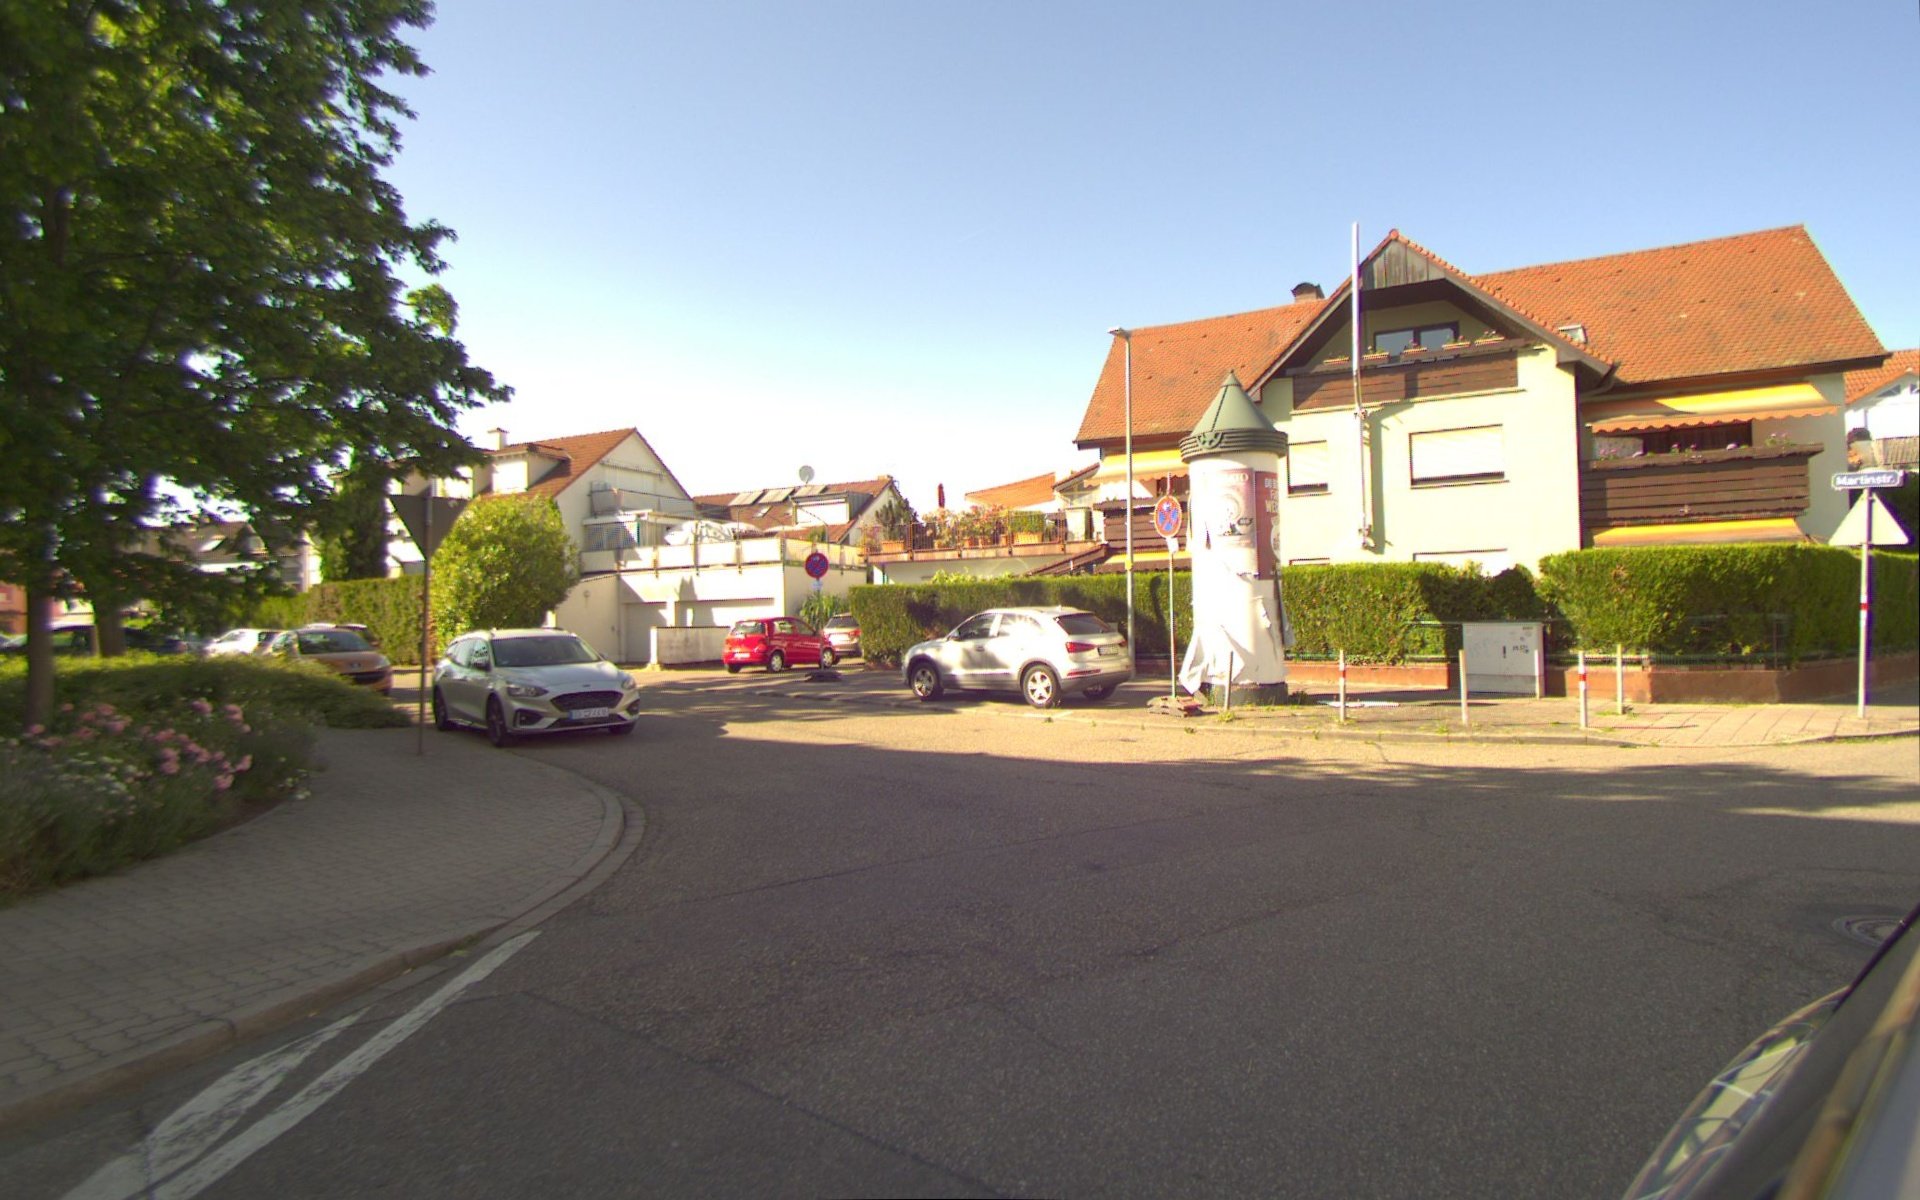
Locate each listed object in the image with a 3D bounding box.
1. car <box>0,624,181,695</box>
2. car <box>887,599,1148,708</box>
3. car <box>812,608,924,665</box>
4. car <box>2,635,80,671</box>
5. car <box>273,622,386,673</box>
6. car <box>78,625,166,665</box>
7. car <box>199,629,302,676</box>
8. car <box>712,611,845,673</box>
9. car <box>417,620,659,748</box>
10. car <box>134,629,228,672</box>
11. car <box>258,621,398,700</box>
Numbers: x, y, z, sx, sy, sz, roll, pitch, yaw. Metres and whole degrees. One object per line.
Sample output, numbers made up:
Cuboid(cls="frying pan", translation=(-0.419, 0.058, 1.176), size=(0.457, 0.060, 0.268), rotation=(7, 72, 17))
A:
Cuboid(cls="car", translation=(-19.724, 1.271, 22.317), size=(3.930, 1.428, 1.796), rotation=(0, -2, -41))
Cuboid(cls="car", translation=(0.882, 0.840, 17.327), size=(4.287, 1.613, 1.787), rotation=(-1, 0, 43))
Cuboid(cls="car", translation=(-2.805, 1.088, 31.592), size=(1.683, 1.589, 3.685), rotation=(-1, 0, 29))
Cuboid(cls="car", translation=(-41.893, 2.387, 46.114), size=(3.693, 1.518, 1.680), rotation=(-1, 0, 32))
Cuboid(cls="car", translation=(-20.531, 1.518, 32.940), size=(3.693, 1.518, 1.680), rotation=(-1, 0, 32))
Cuboid(cls="car", translation=(-34.317, 1.816, 41.418), size=(3.693, 1.518, 1.680), rotation=(-1, 0, 32))
Cuboid(cls="car", translation=(-25.148, 1.830, 35.833), size=(3.693, 1.518, 1.680), rotation=(-1, 0, 32))
Cuboid(cls="car", translation=(-4.968, 1.103, 28.131), size=(1.683, 1.518, 3.685), rotation=(-1, 0, 29))
Cuboid(cls="car", translation=(-6.043, 1.048, 14.215), size=(1.784, 1.513, 4.294), rotation=(1, -2, -43))
Cuboid(cls="car", translation=(-29.945, 1.914, 38.888), size=(3.693, 1.518, 1.680), rotation=(-1, 0, 32))
Cuboid(cls="car", translation=(-13.703, 1.226, 21.848), size=(1.784, 1.513, 4.294), rotation=(1, -2, -43))
